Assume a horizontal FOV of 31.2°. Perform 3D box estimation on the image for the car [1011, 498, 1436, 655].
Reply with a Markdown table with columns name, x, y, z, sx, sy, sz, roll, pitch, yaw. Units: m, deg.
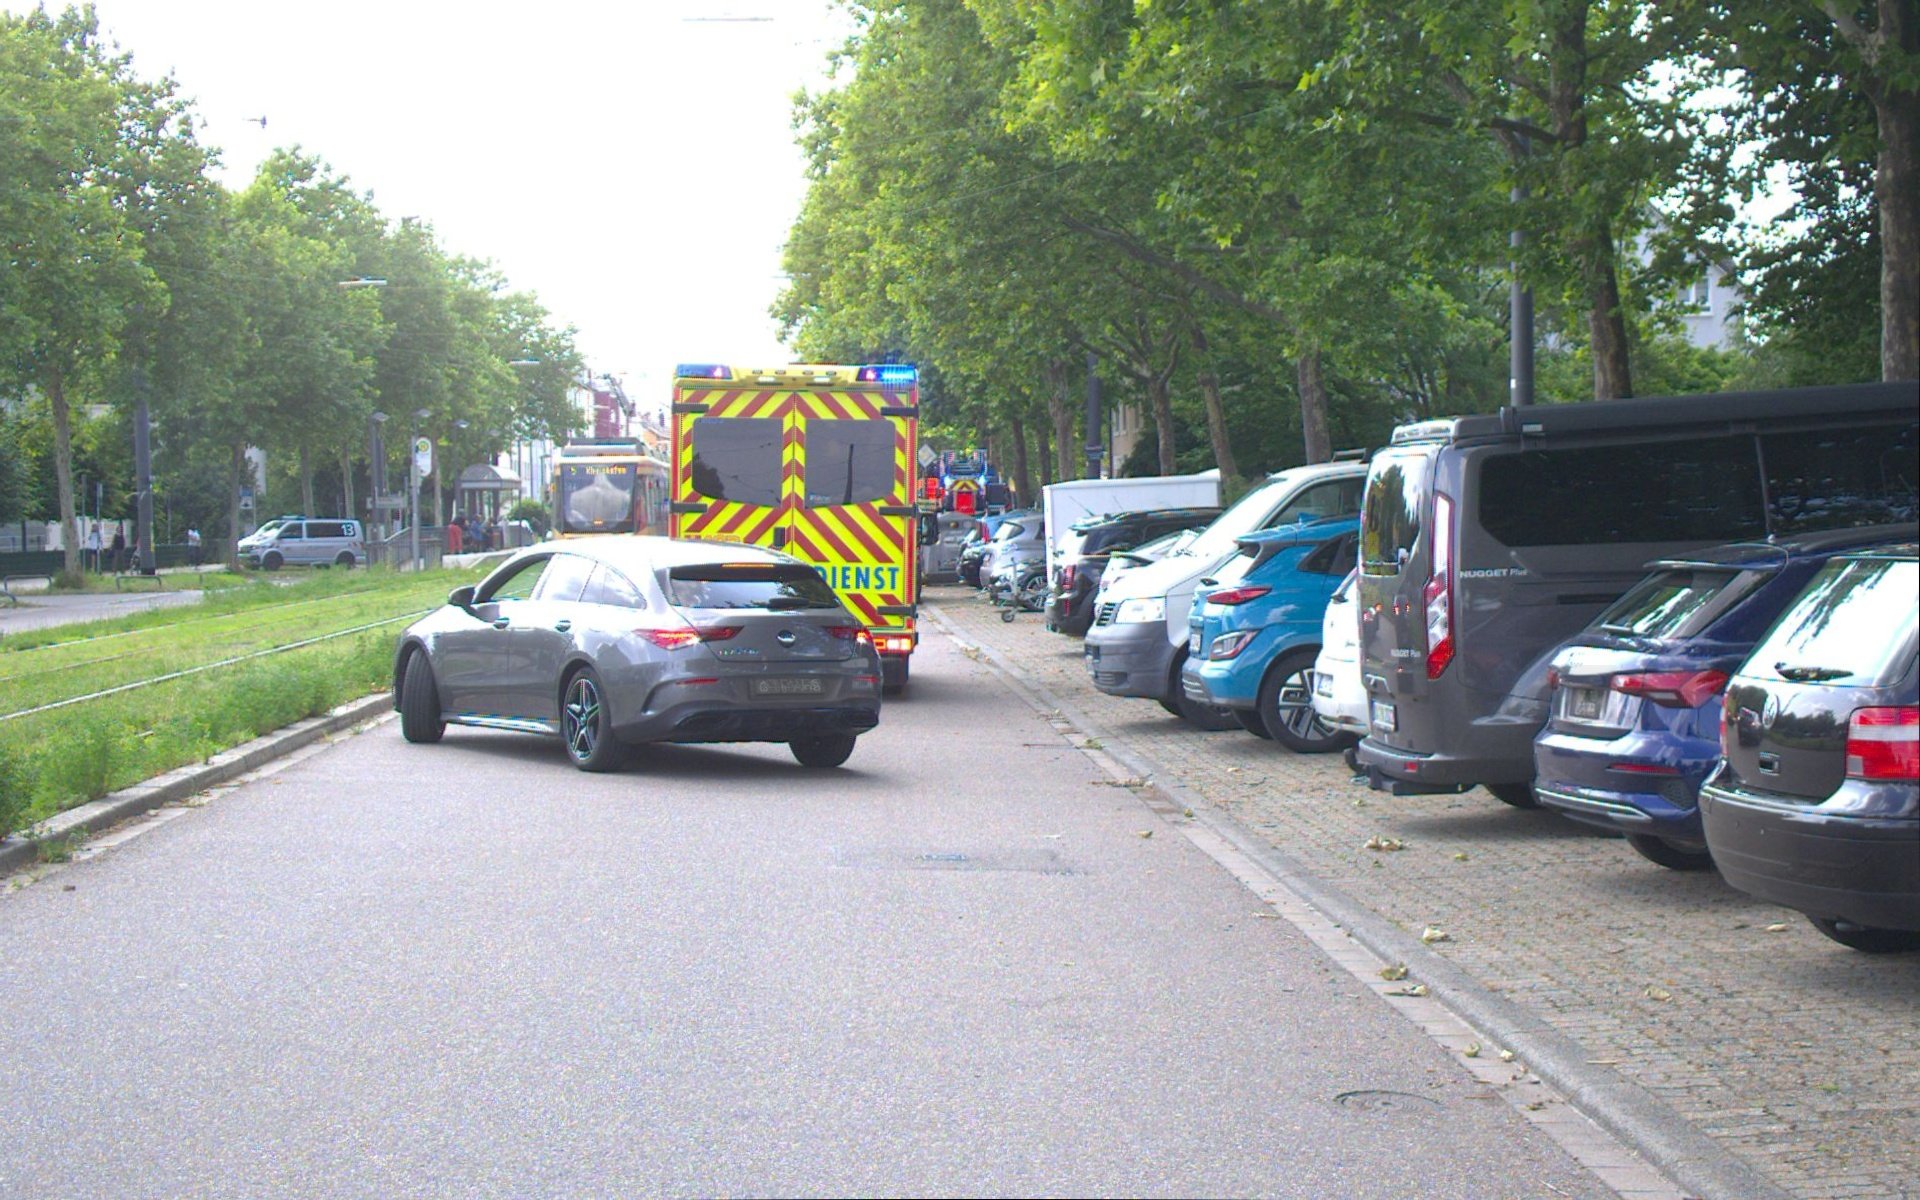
| name | x | y | z | sx | sy | sz | roll | pitch | yaw |
| --- | --- | --- | --- | --- | --- | --- | --- | --- | --- |
| car | 2.974 | -0.288 | 39.292 | 4.545 | 1.603 | 1.856 | -2 | 1 | -6 |

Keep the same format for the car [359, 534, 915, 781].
| name | x | y | z | sx | sy | sz | roll | pitch | yaw |
| --- | --- | --- | --- | --- | --- | --- | --- | --- | --- |
| car | -2.215 | 0.303 | 22.358 | 1.761 | 1.381 | 4.468 | 0 | 1 | -32 |

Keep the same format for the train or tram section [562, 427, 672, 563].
| name | x | y | z | sx | sy | sz | roll | pitch | yaw |
| --- | --- | --- | --- | --- | --- | --- | --- | --- | --- |
| train or tram section | -9.542 | -2.875 | 96.245 | 2.511 | 3.572 | 7.446 | -2 | 1 | -2 |

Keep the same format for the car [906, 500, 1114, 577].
| name | x | y | z | sx | sy | sz | roll | pitch | yaw |
| --- | --- | --- | --- | --- | --- | --- | --- | --- | --- |
| car | 1.117 | -1.410 | 78.892 | 4.545 | 1.603 | 1.856 | -2 | 1 | -6 |

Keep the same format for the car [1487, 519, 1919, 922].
| name | x | y | z | sx | sy | sz | roll | pitch | yaw |
| --- | --- | --- | --- | --- | --- | --- | --- | --- | --- |
| car | 4.307 | 0.403 | 14.002 | 3.965 | 1.489 | 1.756 | -2 | 1 | -2 |

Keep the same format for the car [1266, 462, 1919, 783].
| name | x | y | z | sx | sy | sz | roll | pitch | yaw |
| --- | --- | --- | --- | --- | --- | --- | --- | --- | --- |
| car | 4.280 | 0.091 | 21.030 | 4.545 | 1.760 | 1.856 | -2 | 1 | -2 |

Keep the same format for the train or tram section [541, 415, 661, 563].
| name | x | y | z | sx | sy | sz | roll | pitch | yaw |
| --- | --- | --- | --- | --- | --- | --- | --- | --- | --- |
| train or tram section | -9.213 | -2.798 | 88.819 | 2.511 | 3.572 | 7.446 | -2 | 1 | -2 |

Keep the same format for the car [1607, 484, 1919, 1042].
| name | x | y | z | sx | sy | sz | roll | pitch | yaw |
| --- | --- | --- | --- | --- | --- | --- | --- | --- | --- |
| car | 4.323 | 0.387 | 11.143 | 3.964 | 1.600 | 1.757 | -2 | 1 | -12 |

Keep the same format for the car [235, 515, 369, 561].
| name | x | y | z | sx | sy | sz | roll | pitch | yaw |
| --- | --- | --- | --- | --- | --- | --- | --- | --- | --- |
| car | -24.673 | -2.331 | 129.020 | 4.615 | 1.627 | 1.882 | -2 | 2 | -41 |

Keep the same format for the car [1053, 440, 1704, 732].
| name | x | y | z | sx | sy | sz | roll | pitch | yaw |
| --- | --- | --- | --- | --- | --- | --- | --- | --- | --- |
| car | 3.109 | -0.132 | 26.066 | 4.545 | 1.994 | 1.856 | -2 | 1 | -6 |

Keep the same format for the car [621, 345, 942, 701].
| name | x | y | z | sx | sy | sz | roll | pitch | yaw |
| --- | --- | --- | --- | --- | --- | --- | --- | --- | --- |
| car | -1.560 | -0.717 | 32.547 | 2.641 | 2.956 | 6.300 | 2 | 1 | -1 |

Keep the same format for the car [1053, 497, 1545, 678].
| name | x | y | z | sx | sy | sz | roll | pitch | yaw |
| --- | --- | --- | --- | --- | --- | --- | --- | --- | --- |
| car | 3.319 | -0.144 | 34.144 | 4.545 | 1.603 | 1.856 | -2 | 1 | -6 |

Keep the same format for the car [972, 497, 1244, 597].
| name | x | y | z | sx | sy | sz | roll | pitch | yaw |
| --- | --- | --- | --- | --- | --- | --- | --- | --- | --- |
| car | 2.594 | -0.953 | 60.844 | 4.545 | 1.603 | 1.856 | -2 | 1 | -6 |

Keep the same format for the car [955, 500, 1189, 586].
| name | x | y | z | sx | sy | sz | roll | pitch | yaw |
| --- | --- | --- | --- | --- | --- | --- | --- | --- | --- |
| car | 2.280 | -1.181 | 70.689 | 4.545 | 1.603 | 1.856 | -2 | 1 | -6 |

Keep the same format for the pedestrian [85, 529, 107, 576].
| name | x | y | z | sx | sy | sz | roll | pitch | yaw |
| --- | --- | --- | --- | --- | --- | --- | --- | --- | --- |
| pedestrian | -26.287 | -1.456 | 104.547 | 0.422 | 1.409 | 0.467 | 0 | 1 | 23 |

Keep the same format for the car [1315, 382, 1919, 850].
| name | x | y | z | sx | sy | sz | roll | pitch | yaw |
| --- | --- | --- | --- | --- | --- | --- | --- | --- | --- |
| car | 4.193 | 0.018 | 17.105 | 4.545 | 2.116 | 1.856 | -2 | 1 | -2 |

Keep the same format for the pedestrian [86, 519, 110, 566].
| name | x | y | z | sx | sy | sz | roll | pitch | yaw |
| --- | --- | --- | --- | --- | --- | --- | --- | --- | --- |
| pedestrian | -28.346 | -1.889 | 113.018 | 0.632 | 1.545 | 0.622 | -1 | 1 | -5 |

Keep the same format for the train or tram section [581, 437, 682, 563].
| name | x | y | z | sx | sy | sz | roll | pitch | yaw |
| --- | --- | --- | --- | --- | --- | --- | --- | --- | --- |
| train or tram section | -9.864 | -2.953 | 103.685 | 2.511 | 3.572 | 7.446 | -2 | 1 | -2 |

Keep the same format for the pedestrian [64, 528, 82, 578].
| name | x | y | z | sx | sy | sz | roll | pitch | yaw |
| --- | --- | --- | --- | --- | --- | --- | --- | --- | --- |
| pedestrian | -26.490 | -1.398 | 102.664 | 0.421 | 1.468 | 0.467 | -1 | 1 | -7 |

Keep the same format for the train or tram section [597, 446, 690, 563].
| name | x | y | z | sx | sy | sz | roll | pitch | yaw |
| --- | --- | --- | --- | --- | --- | --- | --- | --- | --- |
| train or tram section | -10.178 | -3.030 | 111.122 | 2.511 | 3.572 | 7.446 | -2 | 1 | -2 |

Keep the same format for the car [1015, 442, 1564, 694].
| name | x | y | z | sx | sy | sz | roll | pitch | yaw |
| --- | --- | --- | --- | --- | --- | --- | --- | --- | --- |
| car | 2.885 | -0.301 | 30.654 | 4.545 | 2.036 | 1.856 | -2 | 1 | -6 |

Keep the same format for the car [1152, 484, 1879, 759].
| name | x | y | z | sx | sy | sz | roll | pitch | yaw |
| --- | --- | --- | --- | --- | --- | --- | --- | --- | --- |
| car | 3.735 | 0.112 | 23.550 | 4.545 | 1.654 | 1.856 | -2 | 1 | -6 |
